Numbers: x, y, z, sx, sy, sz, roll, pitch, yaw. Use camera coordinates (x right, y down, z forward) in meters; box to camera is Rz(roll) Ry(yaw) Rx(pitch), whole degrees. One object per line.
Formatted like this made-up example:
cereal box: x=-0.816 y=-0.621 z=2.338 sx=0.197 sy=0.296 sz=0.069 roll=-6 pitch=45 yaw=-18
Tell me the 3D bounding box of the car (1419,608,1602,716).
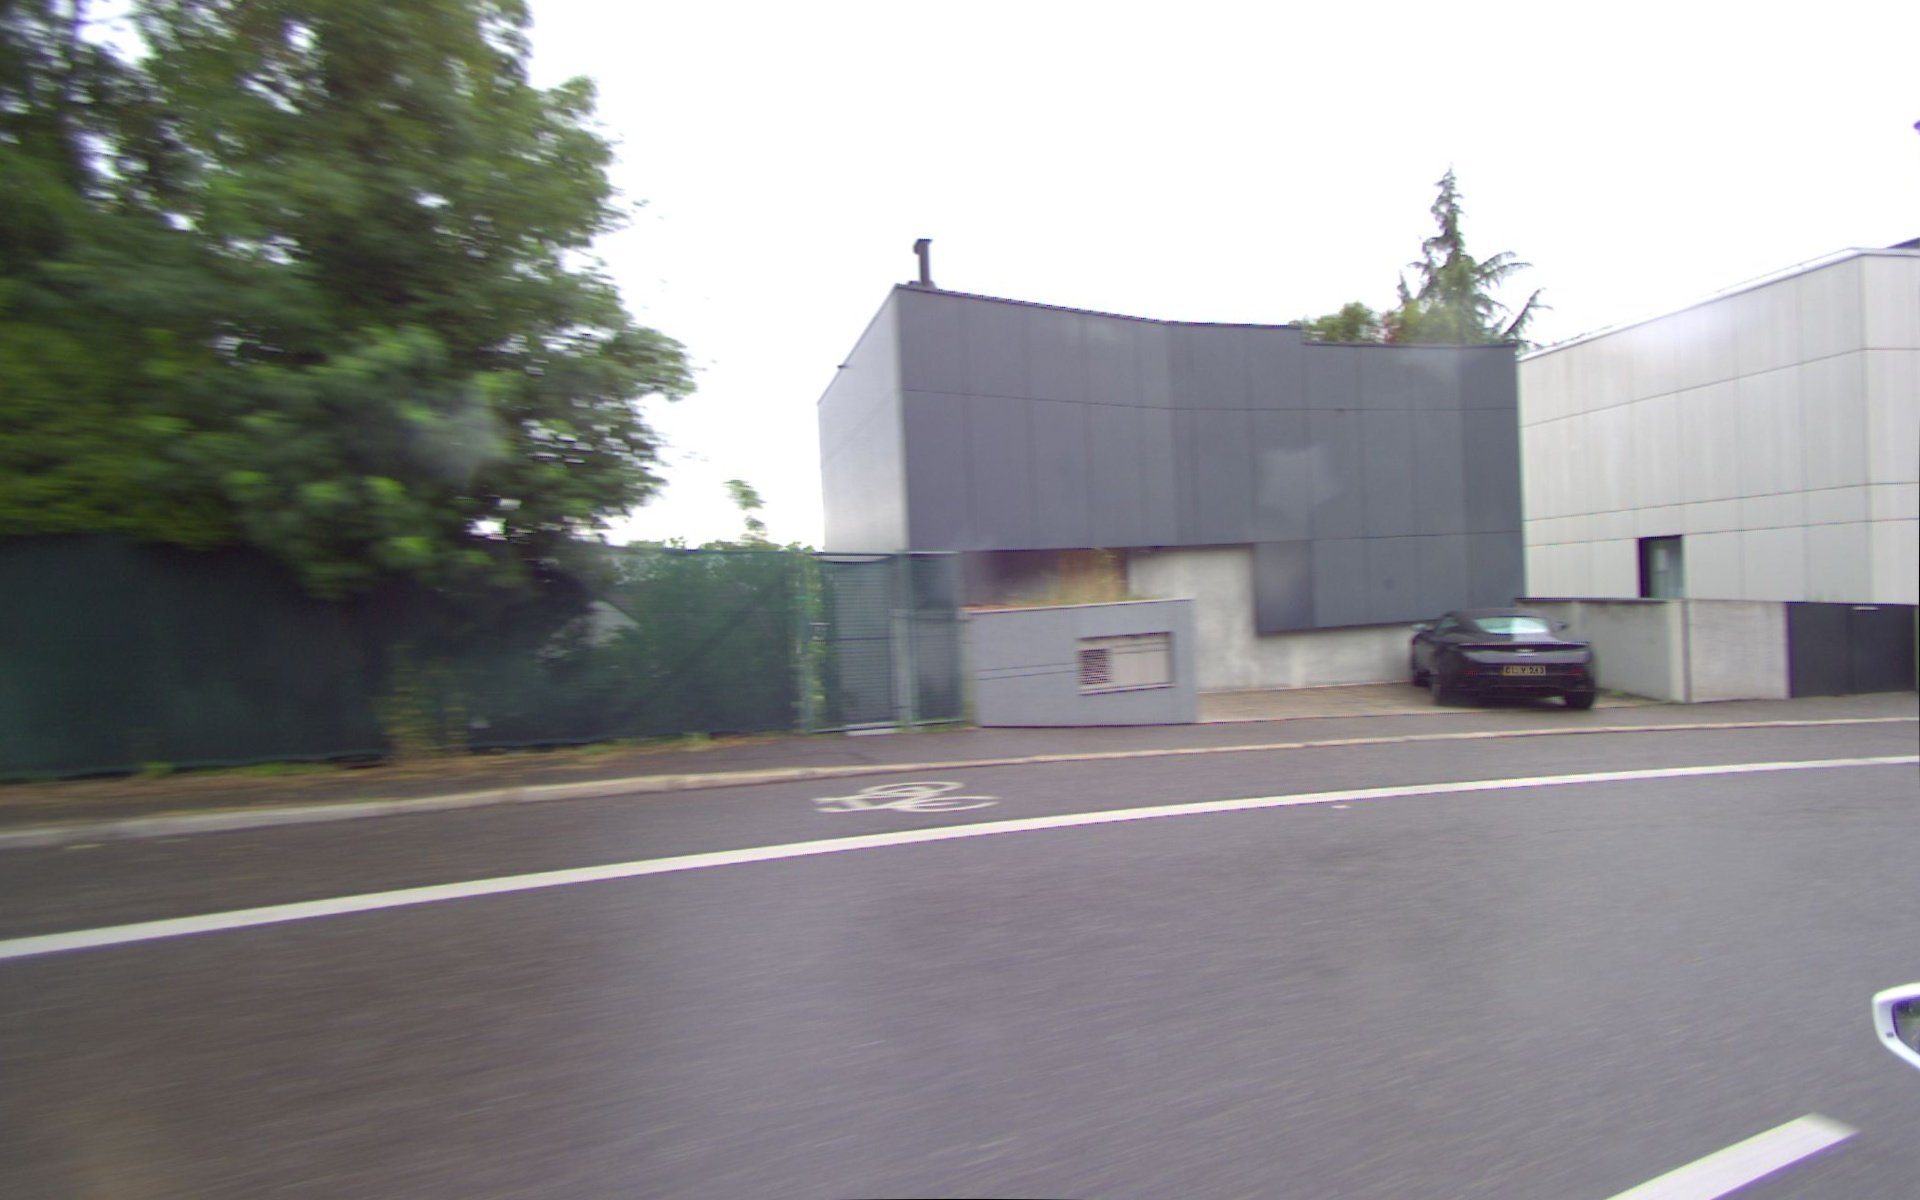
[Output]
car: x=7.755 y=0.785 z=14.516 sx=1.861 sy=1.318 sz=3.999 roll=0 pitch=-1 yaw=22
